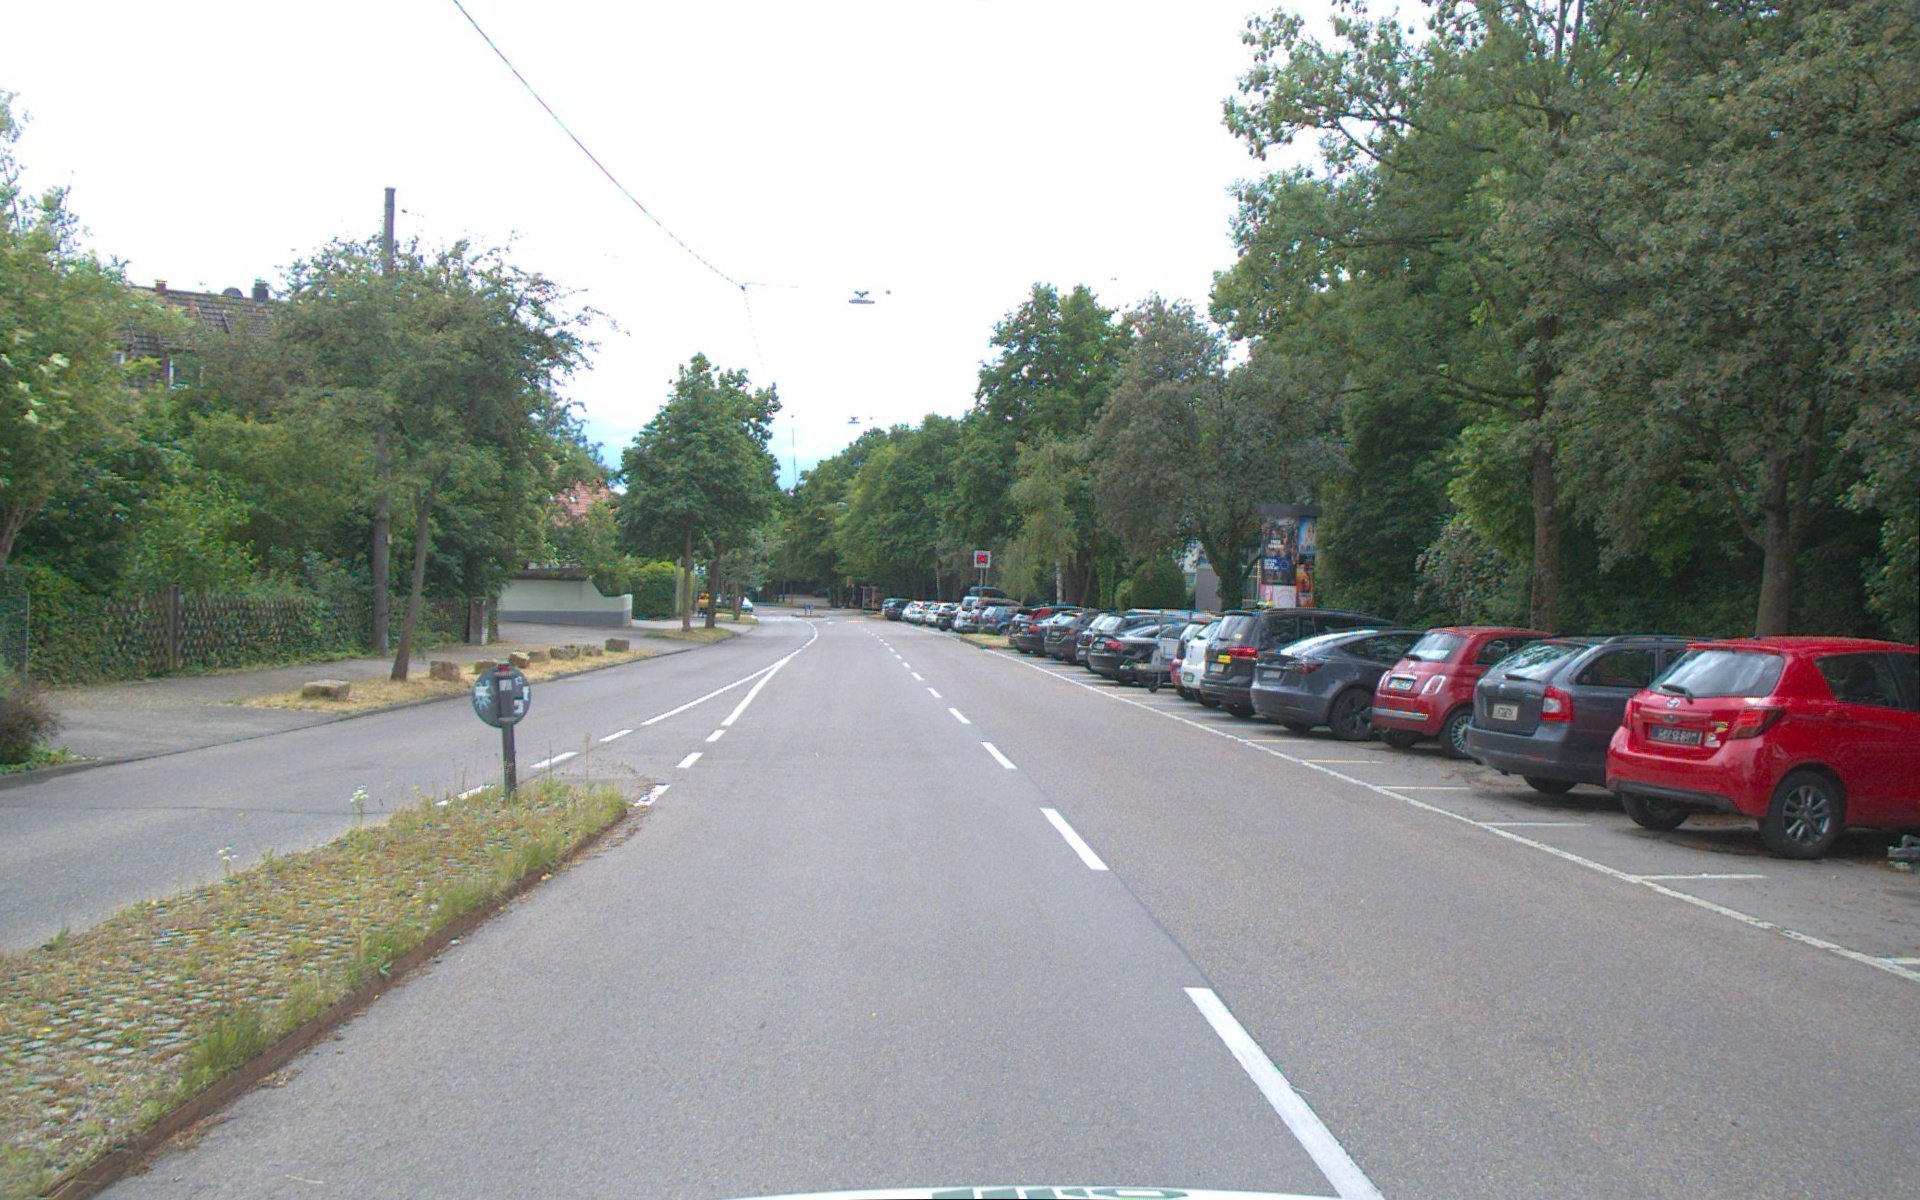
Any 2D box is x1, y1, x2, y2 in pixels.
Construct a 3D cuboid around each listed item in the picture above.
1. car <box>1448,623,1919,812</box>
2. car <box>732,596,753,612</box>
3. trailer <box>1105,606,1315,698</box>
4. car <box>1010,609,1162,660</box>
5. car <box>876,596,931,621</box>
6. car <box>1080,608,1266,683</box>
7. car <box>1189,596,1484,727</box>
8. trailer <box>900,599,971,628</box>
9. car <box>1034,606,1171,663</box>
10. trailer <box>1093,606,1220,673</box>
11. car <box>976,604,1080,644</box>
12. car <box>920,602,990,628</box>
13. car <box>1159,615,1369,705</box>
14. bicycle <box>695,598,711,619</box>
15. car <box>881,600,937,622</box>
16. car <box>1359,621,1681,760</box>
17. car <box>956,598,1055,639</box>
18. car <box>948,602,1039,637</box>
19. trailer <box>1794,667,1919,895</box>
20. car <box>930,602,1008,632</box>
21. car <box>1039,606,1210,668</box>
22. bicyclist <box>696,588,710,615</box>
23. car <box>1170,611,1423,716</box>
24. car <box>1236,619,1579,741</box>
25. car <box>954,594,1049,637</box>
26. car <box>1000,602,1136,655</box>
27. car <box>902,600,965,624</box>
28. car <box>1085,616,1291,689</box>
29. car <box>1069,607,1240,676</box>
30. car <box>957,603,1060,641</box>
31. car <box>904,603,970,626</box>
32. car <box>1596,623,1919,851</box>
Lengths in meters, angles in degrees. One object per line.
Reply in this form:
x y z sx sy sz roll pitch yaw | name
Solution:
6.710 1.043 14.908 4.146 1.489 1.630 2 0 -13 | car
-21.696 0.373 164.622 1.834 1.496 3.989 1 0 -11 | car
4.820 0.994 32.018 3.628 1.562 1.639 3 0 -16 | trailer
3.814 1.043 50.134 4.245 1.364 1.725 2 0 -18 | car
-4.313 0.648 126.697 3.833 1.697 1.731 2 0 -24 | car
4.829 1.028 37.504 3.853 1.512 1.609 2 0 -20 | car
5.563 0.901 24.583 3.917 1.755 1.675 2 -1 -13 | car
-1.532 0.817 103.025 4.099 1.600 1.700 3 -1 -24 | trailer
4.100 0.999 47.581 3.556 1.470 1.625 2 0 -20 | car
5.037 1.004 42.555 2.939 1.569 1.297 2 0 -17 | trailer
2.795 0.966 68.060 3.905 1.430 1.747 3 0 -19 | car
-0.303 0.909 100.940 3.836 1.474 1.730 2 0 -26 | car
5.464 1.069 29.833 3.369 1.470 1.552 2 -1 -16 | car
-16.674 0.531 107.310 0.829 1.288 2.648 2 1 -7 | bicycle
-3.826 0.806 123.940 3.833 1.454 1.731 2 0 -24 | car
6.663 1.064 19.788 3.269 1.489 1.629 2 0 -14 | car
2.024 0.819 73.433 3.938 1.648 1.873 3 0 -20 | car
1.601 0.945 79.607 3.907 1.474 1.907 3 -1 -20 | car
7.169 1.133 10.229 3.344 1.289 1.611 2 -1 -14 | trailer
0.493 0.910 89.837 3.840 1.474 1.827 2 0 -28 | car
4.445 1.009 44.712 4.277 1.470 1.626 2 0 -19 | car
-16.665 0.081 107.404 0.829 1.727 0.712 2 0 -7 | bicyclist
5.525 1.027 27.344 3.749 1.556 1.603 2 -1 -8 | car
5.916 1.050 21.953 4.090 1.431 1.691 2 -1 -15 | car
1.923 0.735 76.230 4.044 1.785 1.768 3 0 -31 | car
3.451 0.915 52.958 4.021 1.542 1.719 2 0 -26 | car
-1.786 0.828 111.498 3.833 1.454 1.731 2 0 -24 | car
4.758 1.090 34.613 3.967 1.351 1.554 2 -1 -13 | car
4.698 1.006 40.070 3.778 1.480 1.627 2 0 -16 | car
2.059 0.930 70.286 3.971 1.430 1.745 3 0 -22 | car
-1.471 0.938 105.723 3.841 1.332 1.727 2 0 -29 | car
6.791 1.006 12.461 3.466 1.502 1.585 2 0 -16 | car
